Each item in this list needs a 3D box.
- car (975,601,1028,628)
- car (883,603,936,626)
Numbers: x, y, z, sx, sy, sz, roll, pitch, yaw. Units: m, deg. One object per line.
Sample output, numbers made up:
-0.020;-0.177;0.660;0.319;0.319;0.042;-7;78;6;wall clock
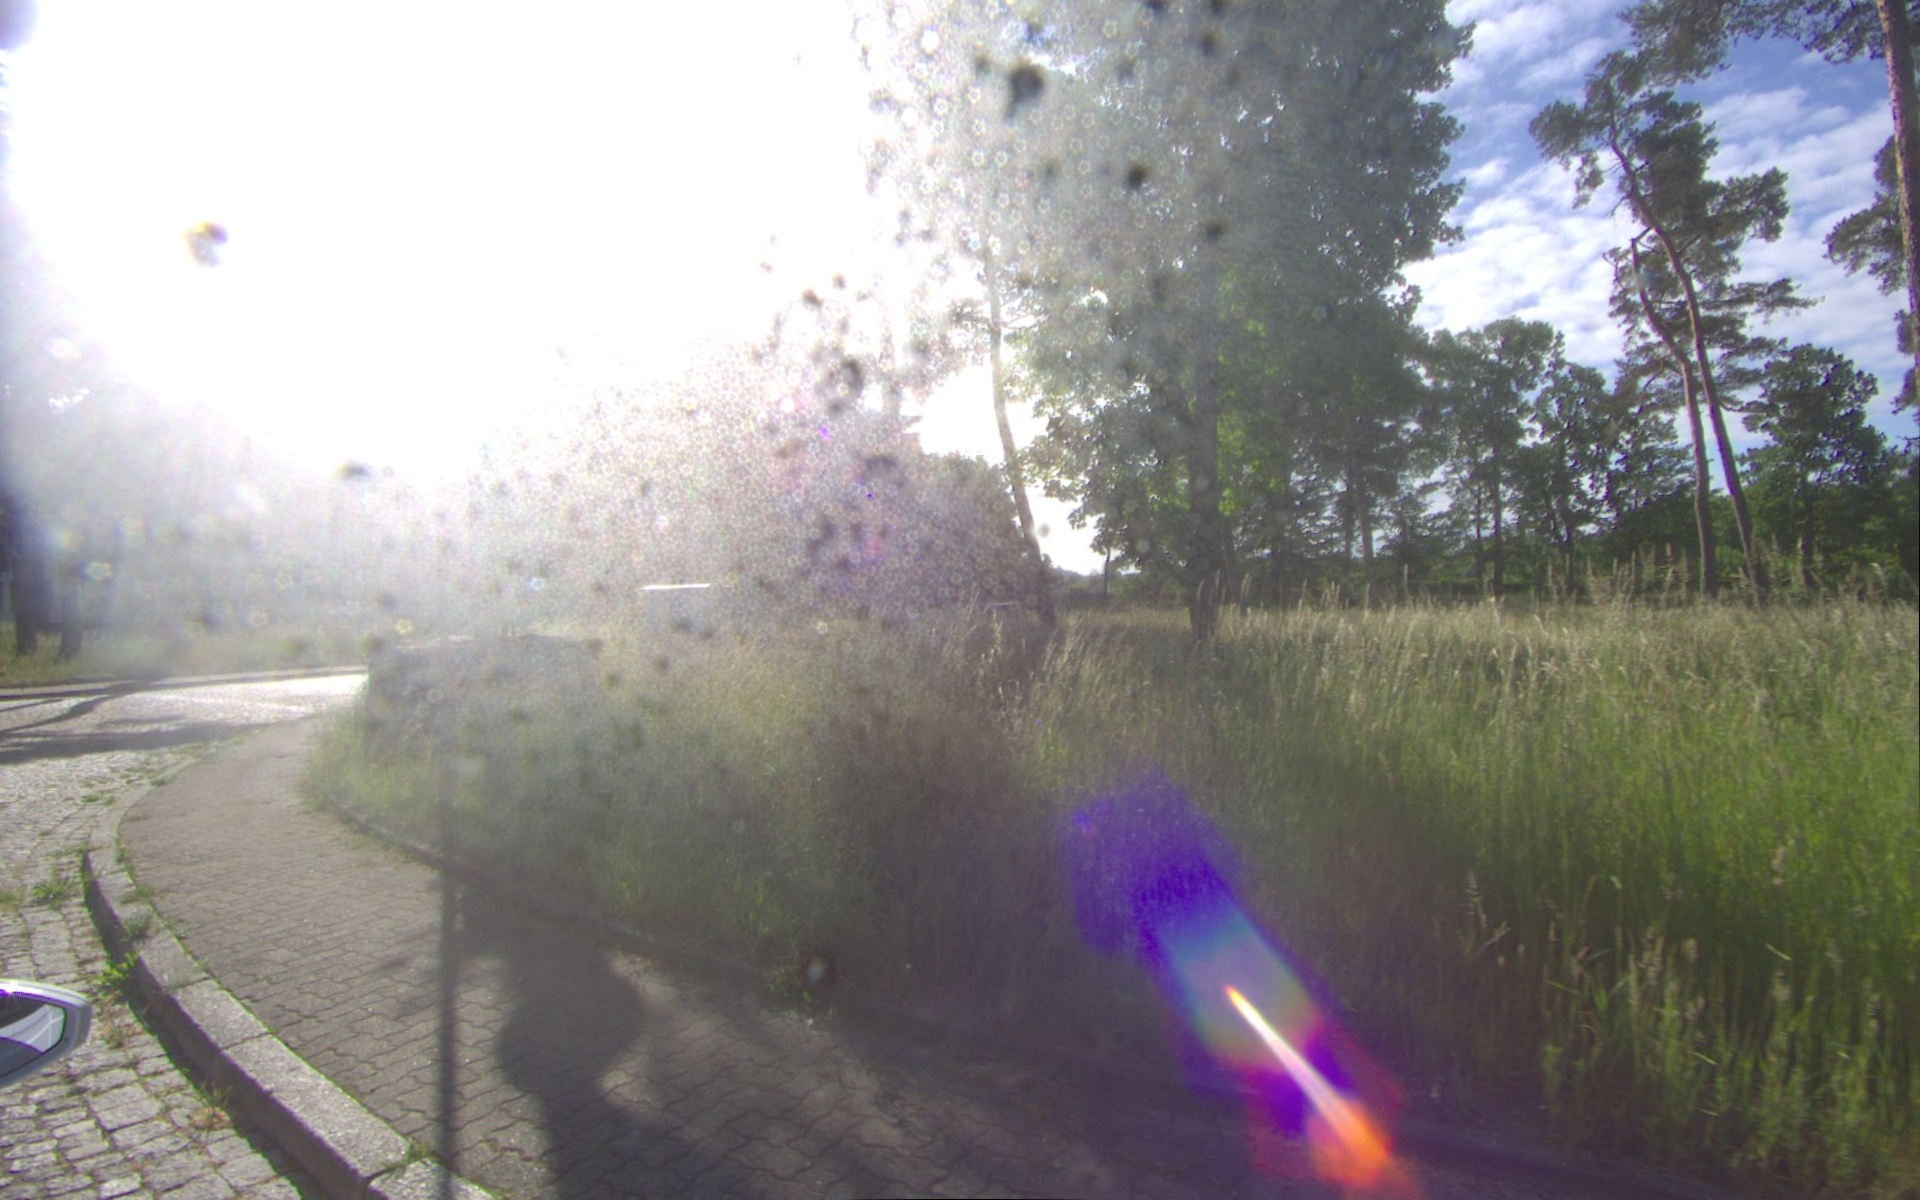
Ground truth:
2.645;0.881;62.842;1.826;1.620;3.985;-1;0;26;car
-3.364;0.965;67.166;1.818;1.483;3.985;-1;0;26;car
